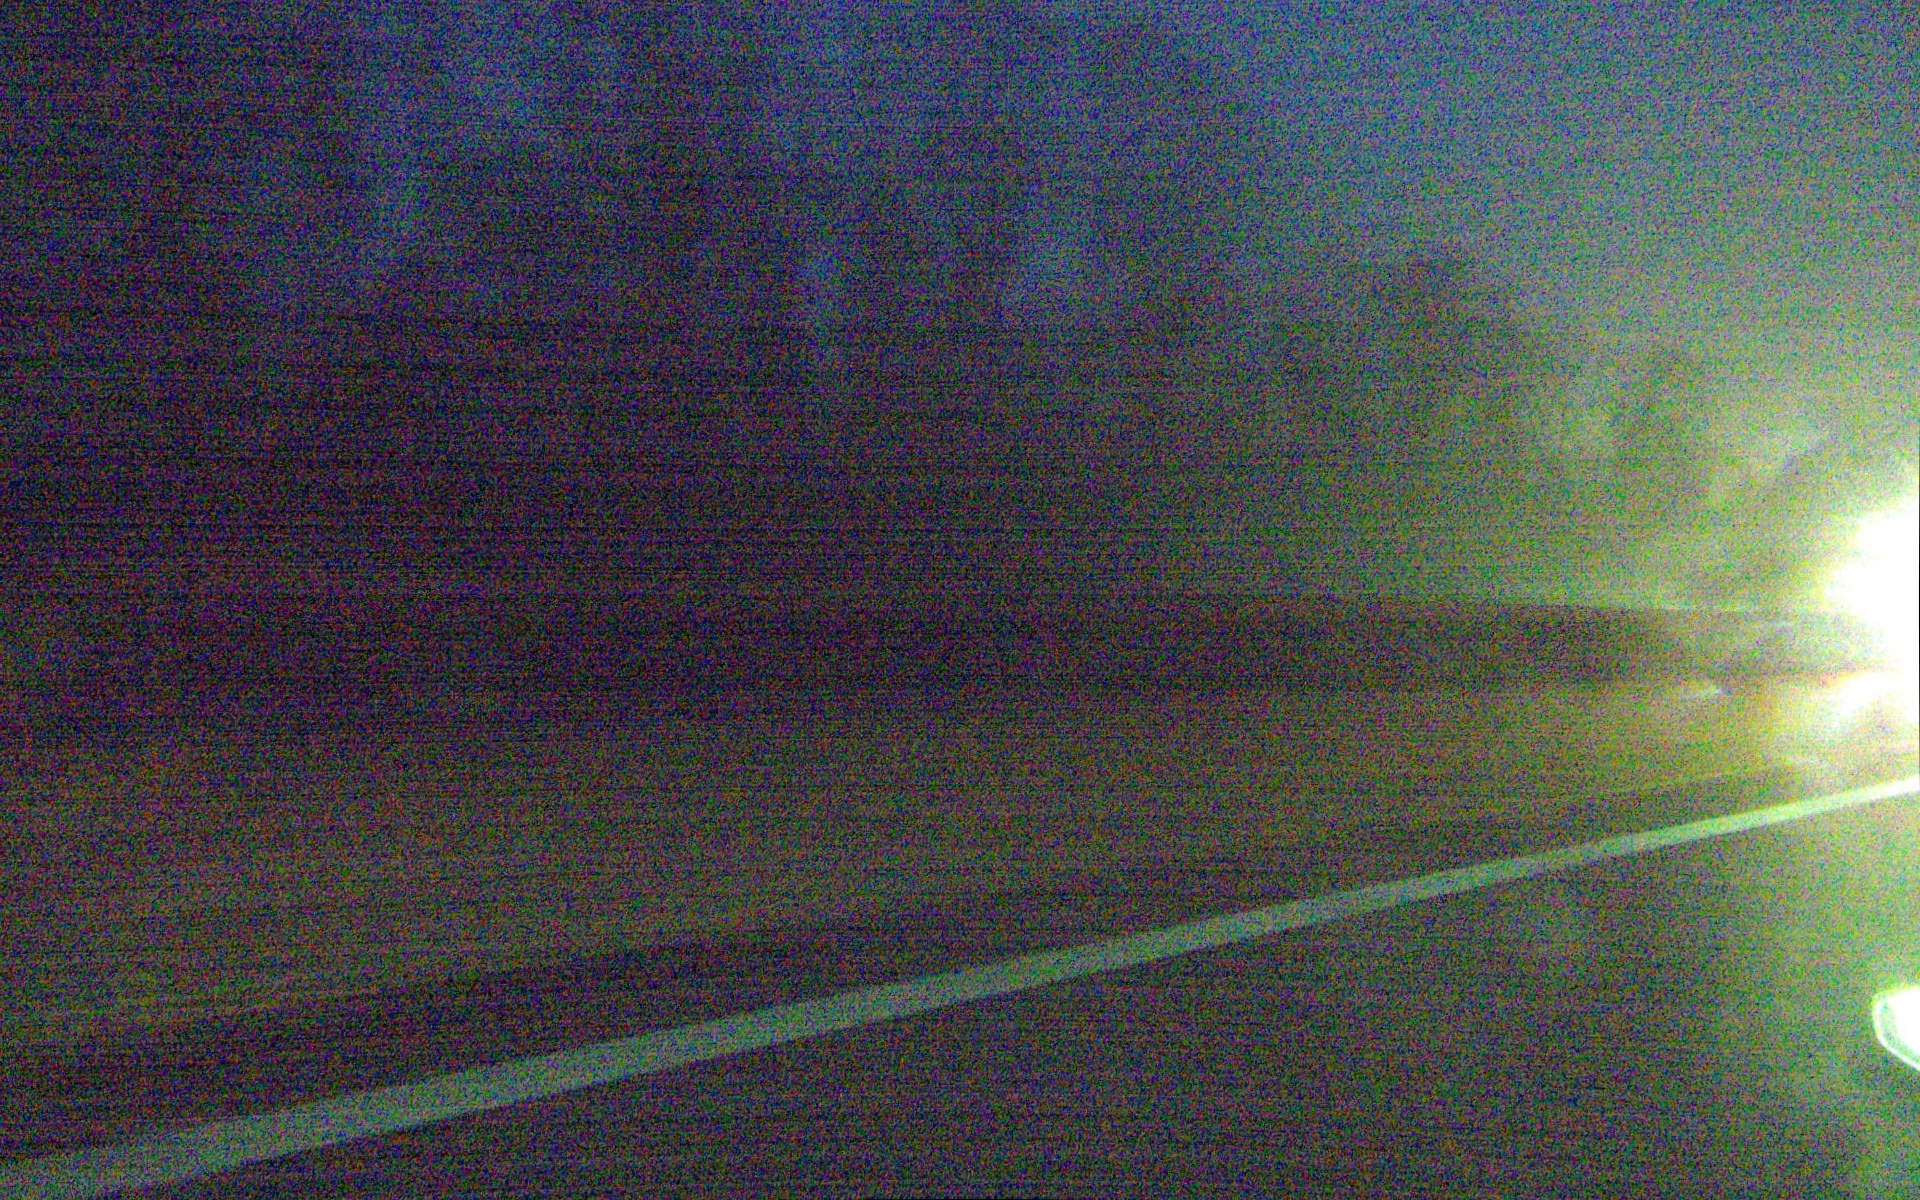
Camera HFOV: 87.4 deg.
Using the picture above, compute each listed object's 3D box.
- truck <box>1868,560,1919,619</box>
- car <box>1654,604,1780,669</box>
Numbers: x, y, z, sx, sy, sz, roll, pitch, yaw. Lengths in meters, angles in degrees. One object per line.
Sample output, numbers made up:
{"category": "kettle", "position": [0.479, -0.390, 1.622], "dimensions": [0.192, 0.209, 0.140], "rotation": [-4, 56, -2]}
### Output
{"category": "truck", "position": [87.873, -1.028, 94.371], "dimensions": [5.835, 5.167, 2.728], "rotation": [-1, 6, -41]}
{"category": "car", "position": [25.289, 1.158, 33.539], "dimensions": [3.956, 1.878, 1.982], "rotation": [0, 5, -33]}
